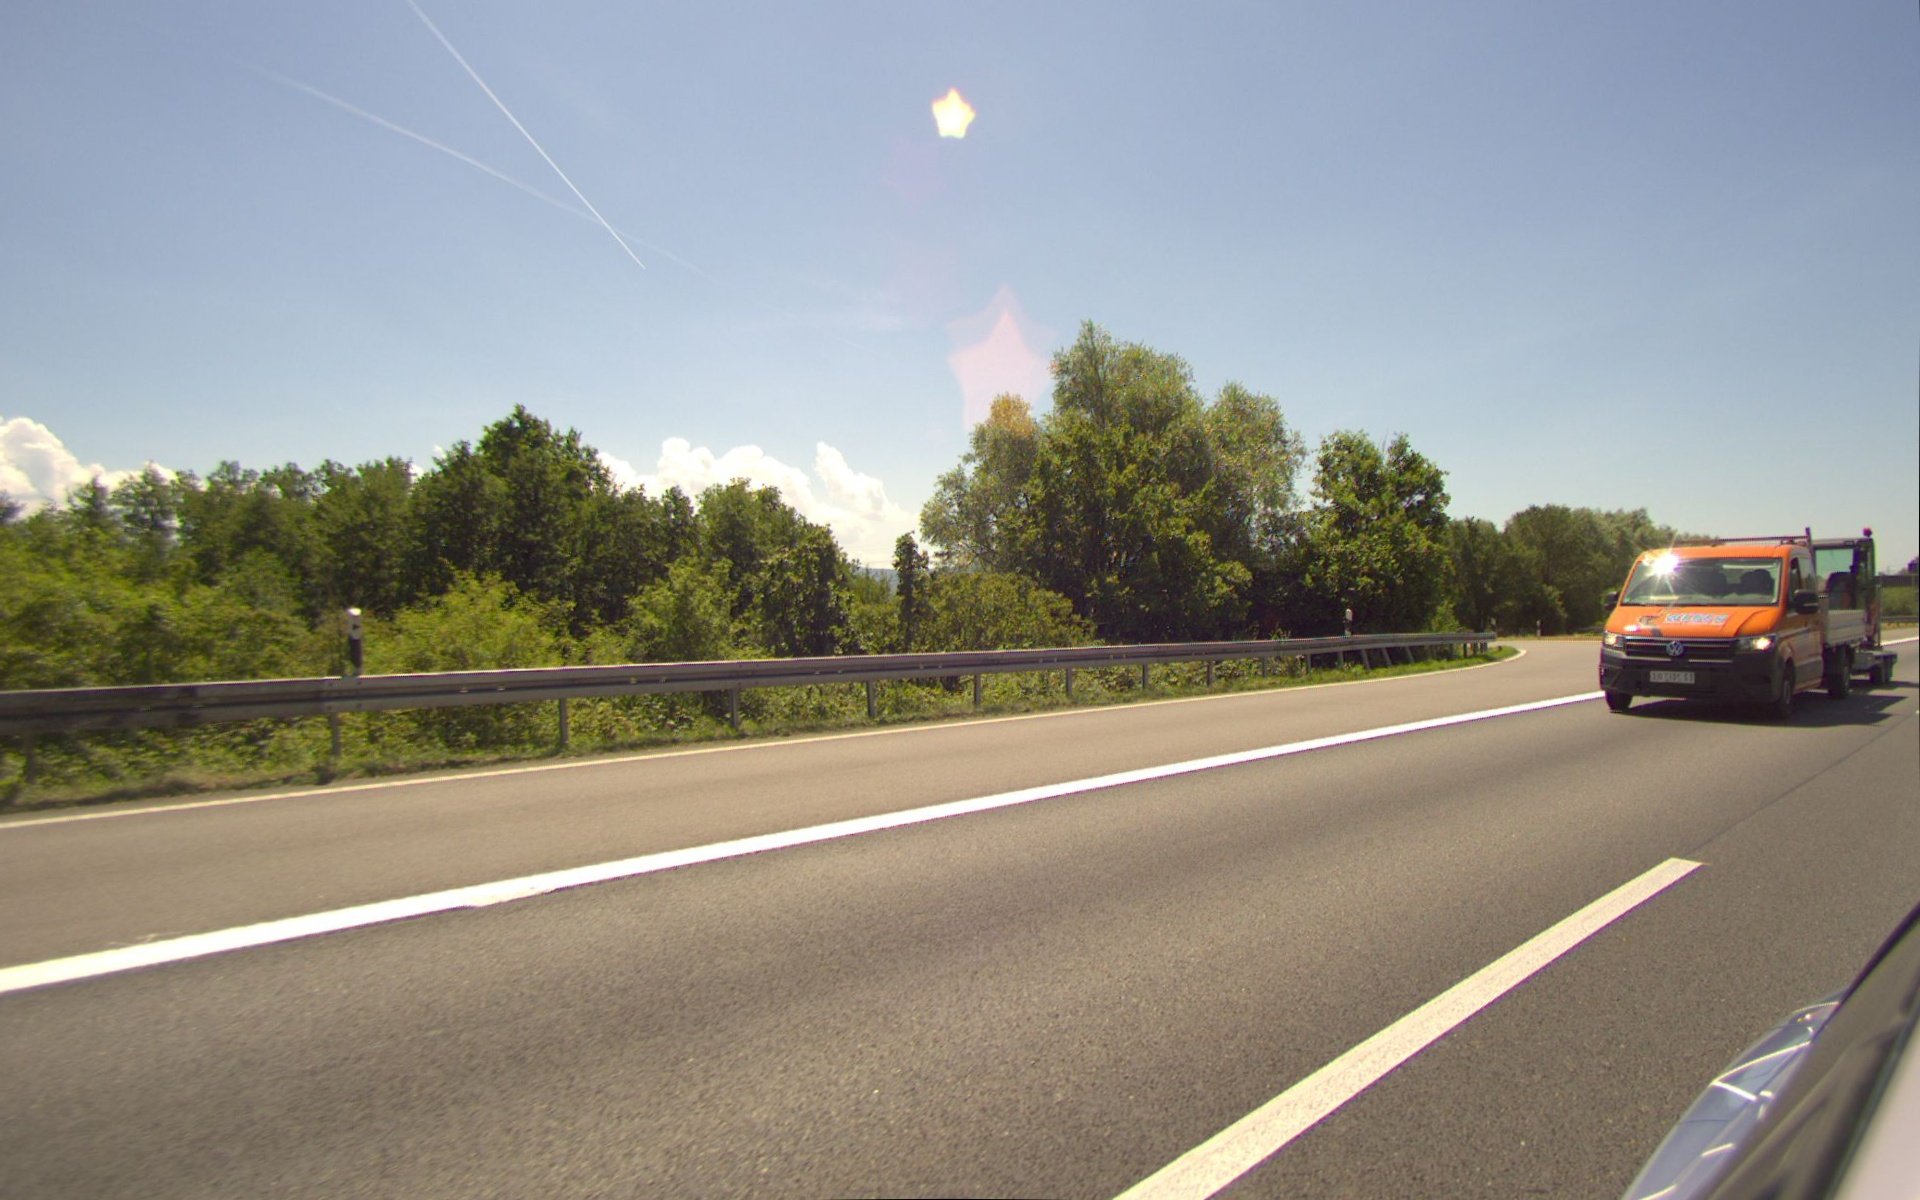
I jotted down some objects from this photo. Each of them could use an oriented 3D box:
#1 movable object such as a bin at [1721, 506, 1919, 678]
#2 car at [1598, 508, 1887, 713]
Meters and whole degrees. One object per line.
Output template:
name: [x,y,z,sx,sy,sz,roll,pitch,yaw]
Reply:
movable object such as a bin: [16.353,-0.127,19.107,4.677,2.851,2.178,0,-1,-40]
car: [11.910,0.131,15.119,7.098,2.436,1.997,0,-1,-40]
